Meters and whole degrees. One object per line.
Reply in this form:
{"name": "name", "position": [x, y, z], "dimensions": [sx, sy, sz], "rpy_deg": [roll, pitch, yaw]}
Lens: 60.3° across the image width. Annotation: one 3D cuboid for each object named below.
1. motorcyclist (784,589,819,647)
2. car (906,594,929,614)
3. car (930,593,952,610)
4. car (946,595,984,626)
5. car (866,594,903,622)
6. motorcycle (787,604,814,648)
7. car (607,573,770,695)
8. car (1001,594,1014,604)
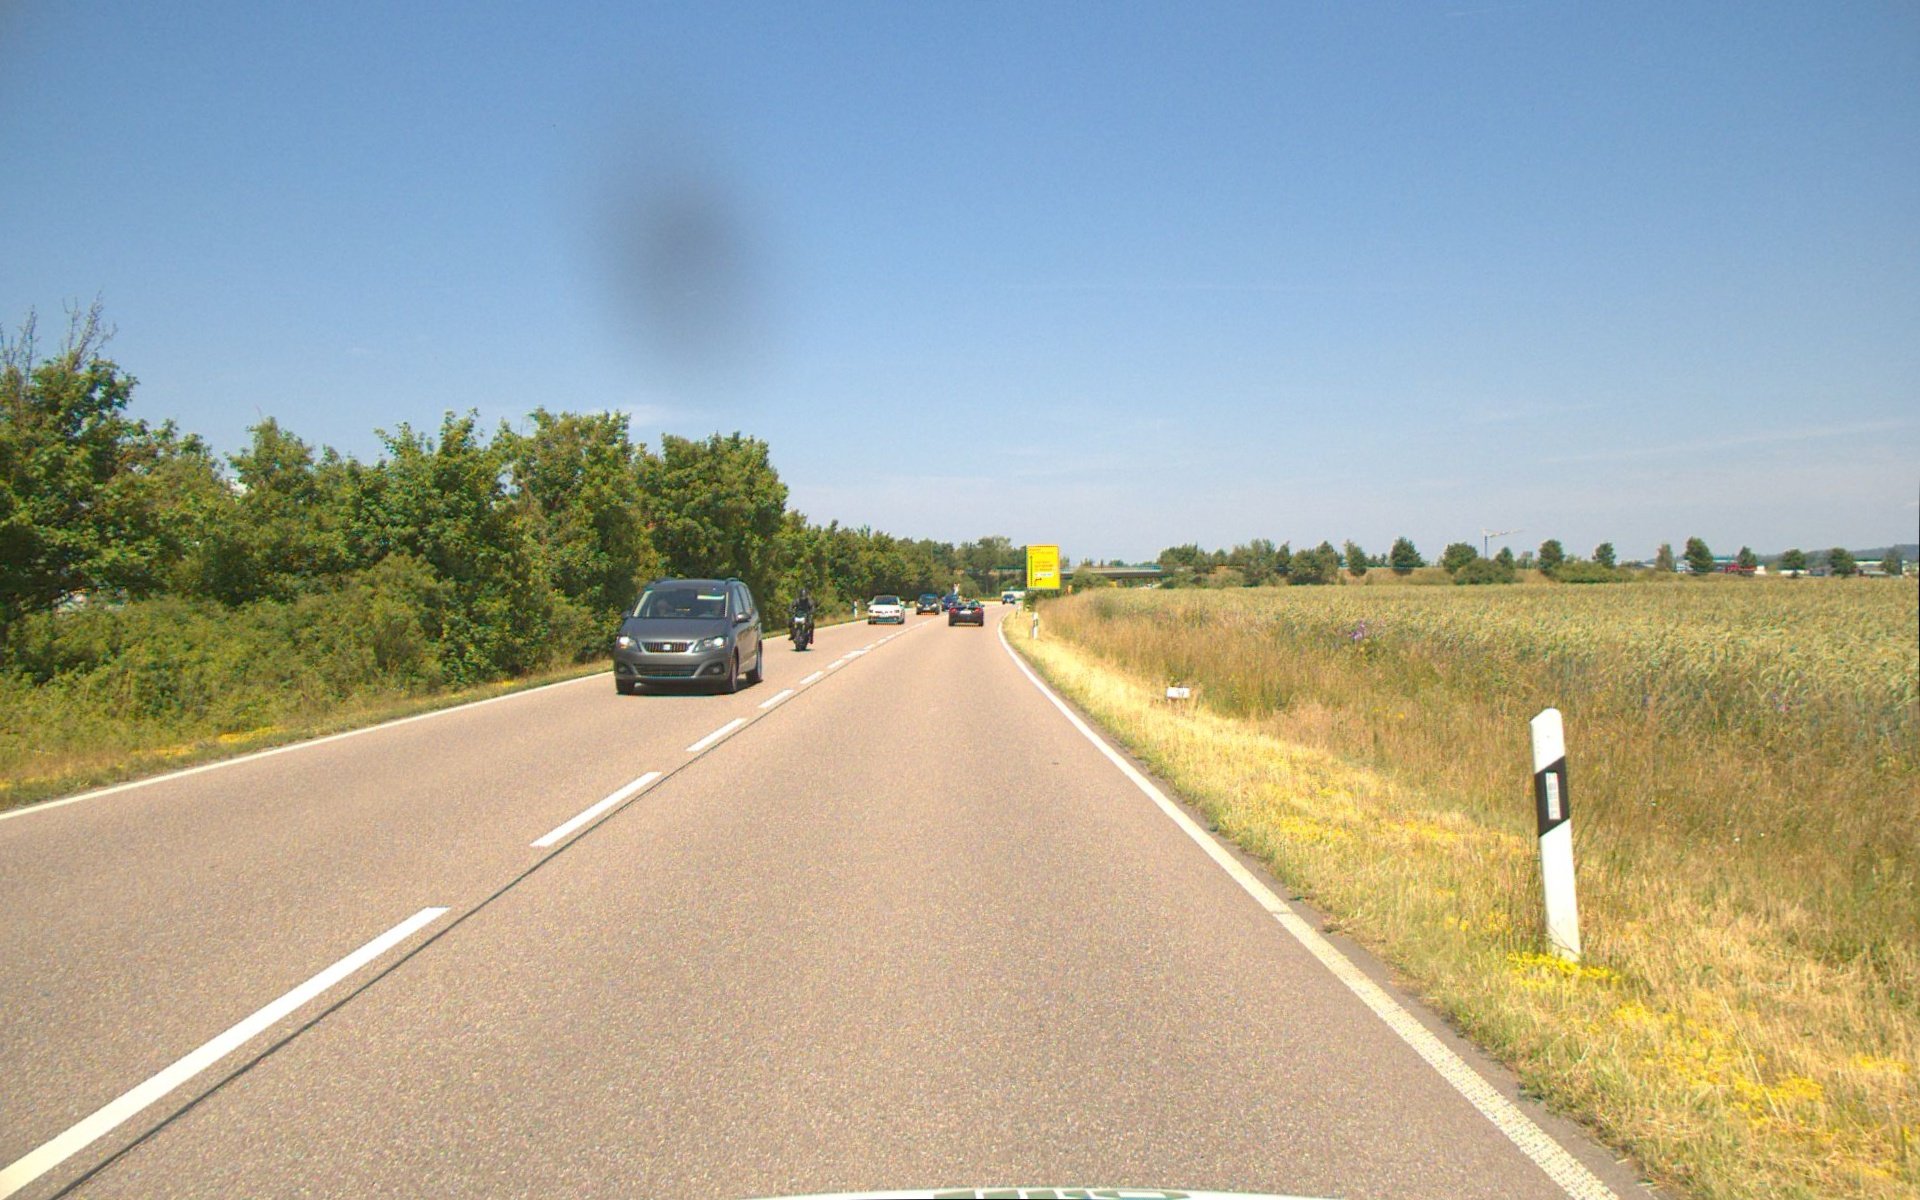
{"name": "motorcyclist", "position": [-4.197, 0.462, 44.000], "dimensions": [0.818, 1.500, 1.817], "rpy_deg": [0, 0, -2]}
{"name": "car", "position": [-3.131, 0.288, 123.492], "dimensions": [1.564, 1.467, 4.000], "rpy_deg": [0, 0, 0]}
{"name": "car", "position": [-1.669, 0.144, 145.728], "dimensions": [1.618, 1.431, 4.001], "rpy_deg": [0, 0, 3]}
{"name": "car", "position": [0.276, 0.495, 81.960], "dimensions": [1.777, 1.466, 4.001], "rpy_deg": [1, 0, 1]}
{"name": "car", "position": [-3.846, 0.408, 84.674], "dimensions": [1.672, 1.405, 3.819], "rpy_deg": [0, 0, 0]}
{"name": "motorcycle", "position": [-4.245, 0.689, 44.103], "dimensions": [0.604, 1.128, 2.021], "rpy_deg": [0, 0, -2]}
{"name": "car", "position": [-4.200, 0.481, 26.312], "dimensions": [1.781, 1.731, 5.000], "rpy_deg": [1, 0, -1]}
{"name": "car", "position": [7.096, -0.156, 246.503], "dimensions": [1.744, 1.445, 4.535], "rpy_deg": [0, 0, 3]}
